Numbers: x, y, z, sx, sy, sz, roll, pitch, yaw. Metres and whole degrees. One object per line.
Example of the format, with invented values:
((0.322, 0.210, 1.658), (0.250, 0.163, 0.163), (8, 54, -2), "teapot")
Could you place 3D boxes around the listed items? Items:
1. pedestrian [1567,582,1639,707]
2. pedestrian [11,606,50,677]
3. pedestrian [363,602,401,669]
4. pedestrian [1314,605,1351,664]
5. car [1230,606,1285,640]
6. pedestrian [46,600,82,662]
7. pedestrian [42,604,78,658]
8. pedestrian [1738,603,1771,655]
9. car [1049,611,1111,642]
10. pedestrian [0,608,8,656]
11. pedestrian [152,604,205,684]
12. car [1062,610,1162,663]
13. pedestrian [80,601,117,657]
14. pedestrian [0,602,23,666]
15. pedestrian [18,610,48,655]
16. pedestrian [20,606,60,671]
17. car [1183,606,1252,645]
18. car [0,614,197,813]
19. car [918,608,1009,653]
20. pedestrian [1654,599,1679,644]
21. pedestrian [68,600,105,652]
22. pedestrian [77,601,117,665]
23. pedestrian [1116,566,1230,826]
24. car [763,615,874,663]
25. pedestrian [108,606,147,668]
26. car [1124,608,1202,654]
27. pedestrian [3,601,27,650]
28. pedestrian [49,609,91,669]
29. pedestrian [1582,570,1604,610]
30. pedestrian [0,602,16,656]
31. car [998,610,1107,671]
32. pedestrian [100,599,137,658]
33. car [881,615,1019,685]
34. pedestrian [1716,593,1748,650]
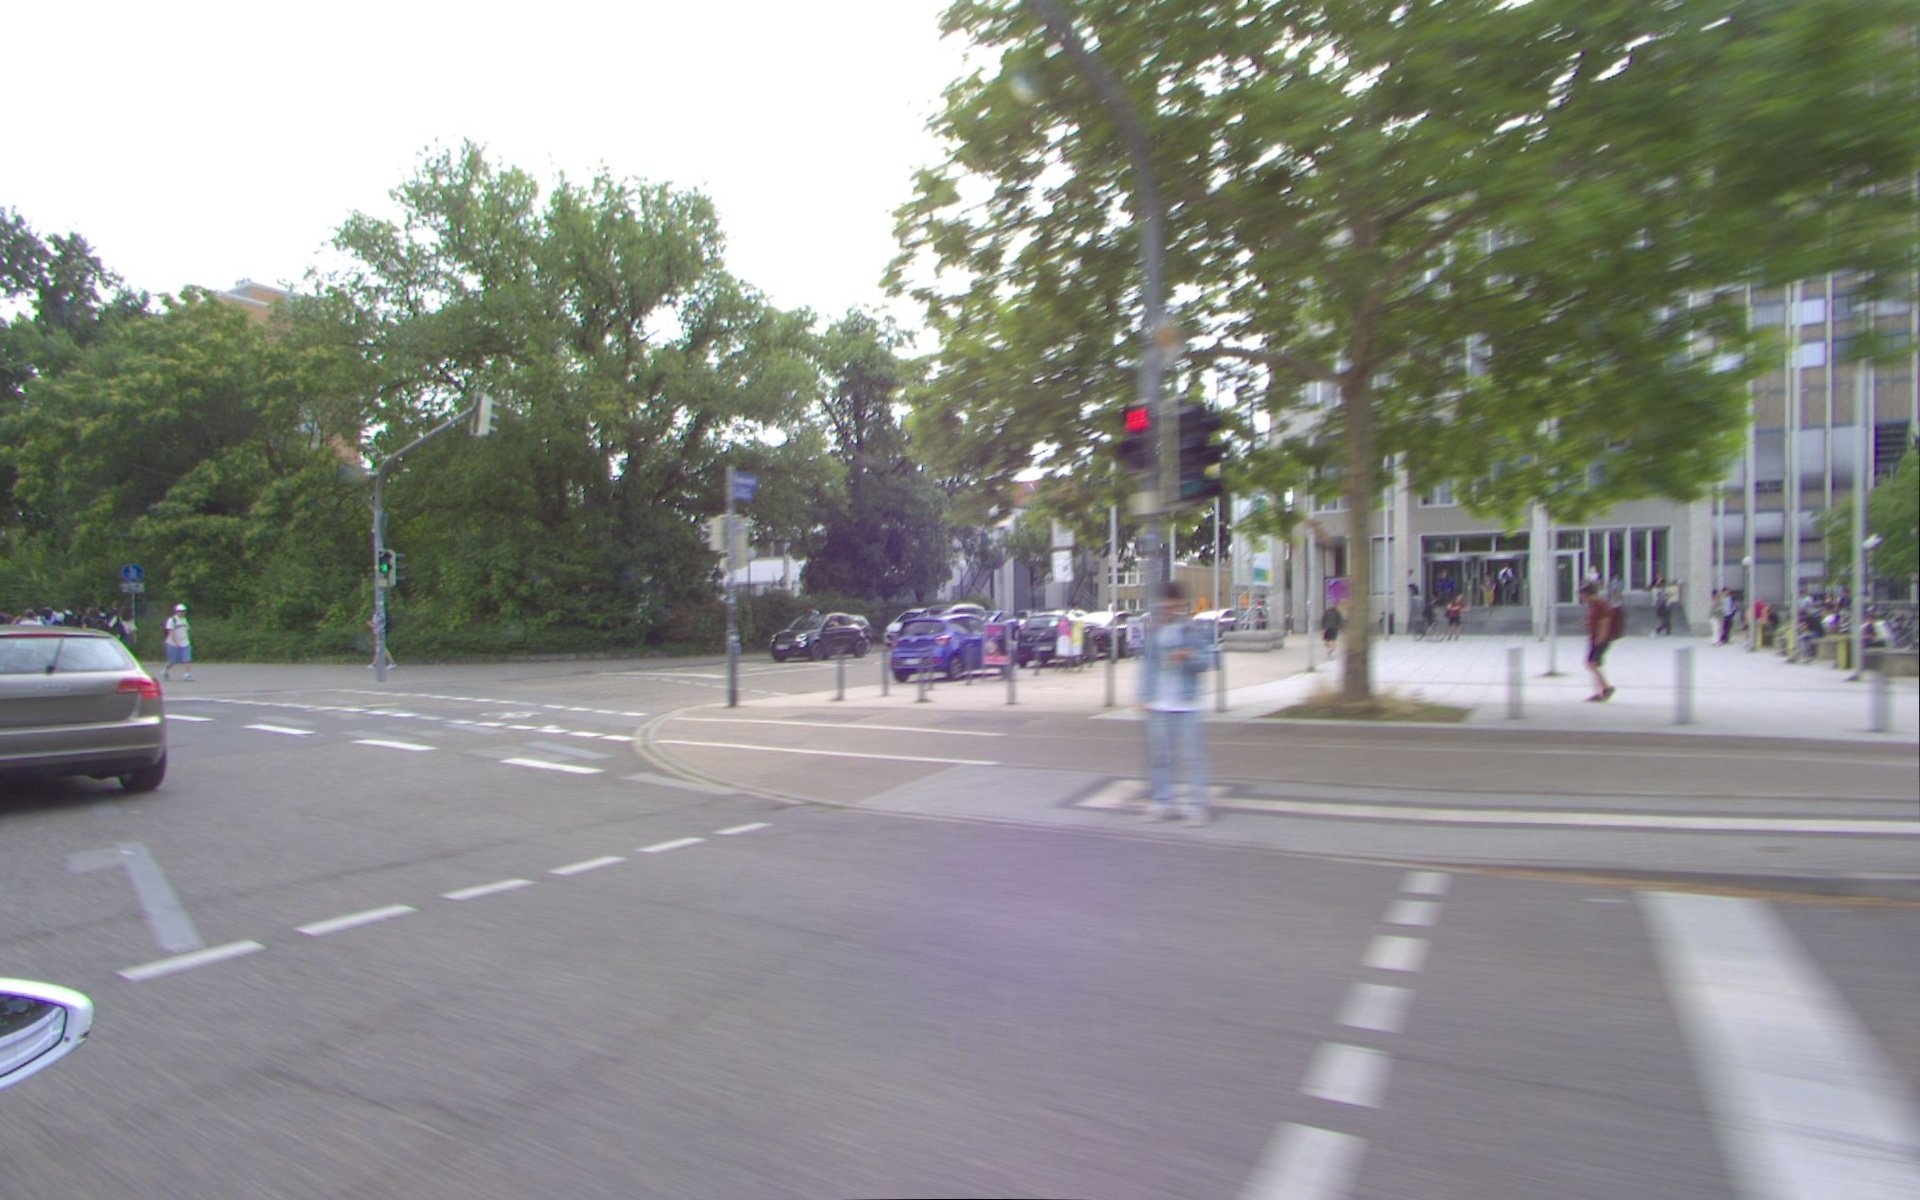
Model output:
((9.801, 0.667, 15.256), (0.880, 1.827, 0.765), (-1, -1, 36), "pedestrian")
((-22.660, 1.002, 24.413), (0.628, 1.709, 0.544), (0, 0, 32), "pedestrian")
((-16.056, 0.969, 27.798), (0.729, 1.819, 0.643), (0, 0, 32), "pedestrian")
((11.153, 1.044, 29.978), (0.944, 1.730, 0.696), (1, -2, -40), "pedestrian")
((14.609, 1.121, 49.050), (1.650, 1.587, 3.971), (-1, -1, 30), "car")
((-26.269, 0.902, 29.346), (0.778, 1.768, 0.580), (0, 0, 32), "pedestrian")
((-28.537, 0.973, 31.752), (0.830, 1.712, 0.655), (0, 0, 32), "pedestrian")
((24.857, 0.914, 31.327), (0.592, 1.617, 0.727), (0, -1, 19), "pedestrian")
((6.015, 1.312, 50.063), (1.660, 1.460, 3.765), (-2, -1, 31), "car")
((-32.343, 1.069, 33.336), (0.801, 1.624, 0.773), (0, 0, 35), "pedestrian")
((-18.849, 1.056, 24.158), (0.815, 1.876, 0.646), (0, -1, 20), "pedestrian")
((4.973, 1.130, 32.200), (1.650, 1.587, 4.432), (-1, -1, 30), "car")
((-26.980, 0.913, 31.358), (0.769, 1.722, 0.655), (0, 0, 32), "pedestrian")
((-26.736, 0.932, 27.956), (0.769, 1.768, 0.655), (0, 0, 32), "pedestrian")
((-33.252, 1.161, 35.918), (0.774, 1.605, 0.634), (0, 0, 35), "pedestrian")
((-25.188, 1.040, 27.422), (0.769, 1.768, 0.623), (0, 0, 32), "pedestrian")
((11.182, 1.079, 43.237), (1.788, 1.587, 4.209), (-2, -1, 30), "car")
((-8.463, 0.873, 8.787), (3.684, 1.476, 1.720), (-1, -1, 34), "car")
((0.194, 1.213, 40.275), (1.660, 1.714, 4.274), (-1, -1, 31), "car")
((26.353, 0.792, 37.345), (0.625, 1.661, 0.598), (1, -1, -35), "pedestrian")
((-28.598, 0.850, 32.782), (0.957, 1.689, 0.655), (0, 0, 32), "pedestrian")
((-24.429, 0.924, 28.337), (0.769, 1.768, 0.655), (0, 0, 32), "pedestrian")
((1.602, 0.688, 7.521), (0.672, 1.841, 0.571), (0, 0, 34), "pedestrian")
((-4.536, 1.239, 32.524), (1.660, 1.460, 3.565), (-2, -1, 32), "car")
((-24.067, 1.052, 28.957), (0.769, 1.768, 0.655), (0, 0, 32), "pedestrian")
((7.509, 1.120, 36.756), (1.650, 1.587, 3.814), (-1, -1, 30), "car")
((-34.810, 0.918, 36.880), (0.655, 1.787, 0.483), (0, 0, 35), "pedestrian")
((-27.285, 1.183, 30.706), (0.944, 1.790, 0.655), (0, 2, 32), "pedestrian")
((27.701, -0.423, 43.831), (0.665, 1.736, 0.626), (1, -1, -41), "pedestrian")
((-33.269, 0.999, 34.706), (0.801, 1.845, 0.654), (0, 0, 35), "pedestrian")
((2.666, 1.094, 28.199), (1.650, 1.587, 3.678), (-1, -1, 31), "car")
((-25.900, 0.871, 30.824), (0.769, 1.768, 0.655), (0, 0, 32), "pedestrian")
((-0.161, 1.137, 23.743), (1.650, 1.511, 3.566), (-2, -1, 31), "car")
((25.543, 0.723, 33.132), (0.591, 1.867, 0.727), (0, -1, 17), "pedestrian")
